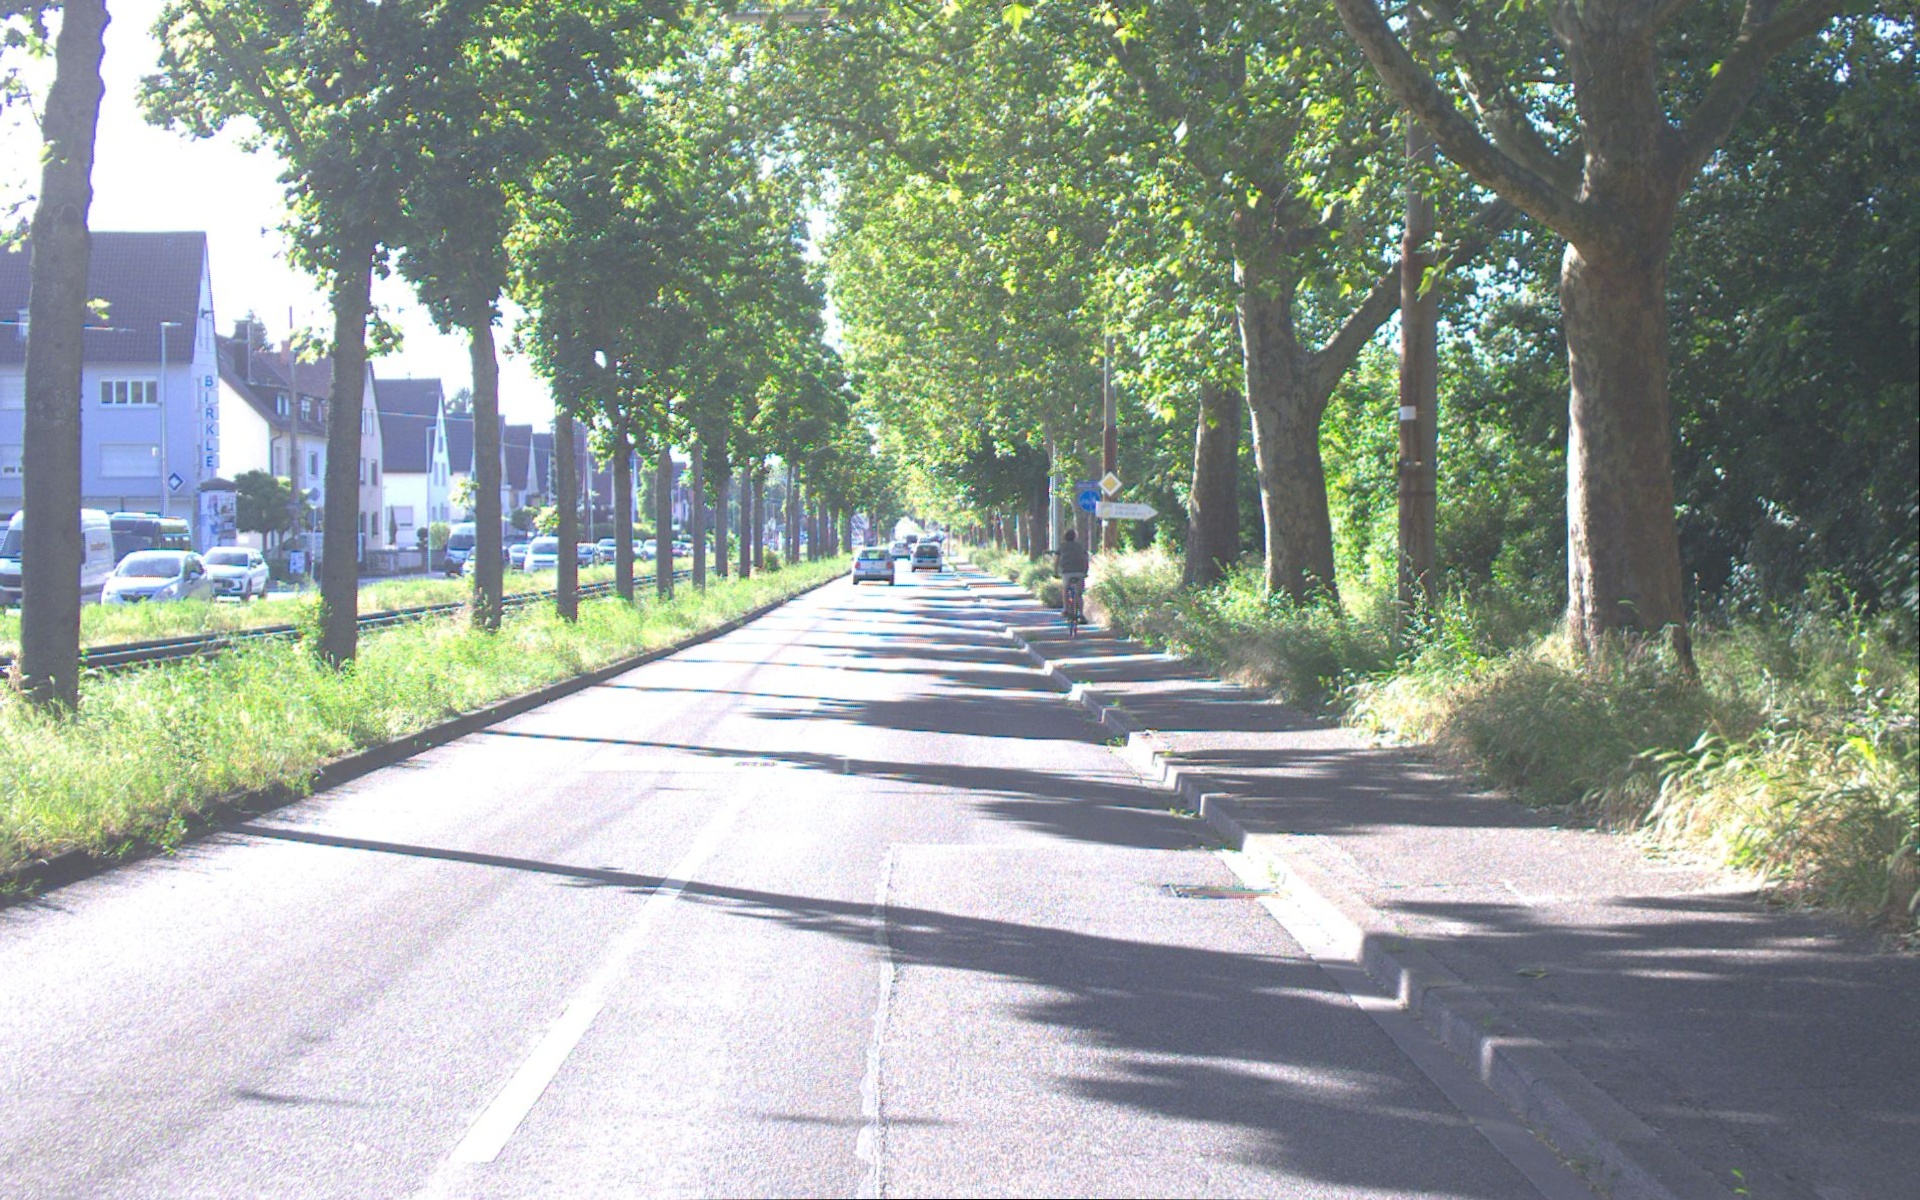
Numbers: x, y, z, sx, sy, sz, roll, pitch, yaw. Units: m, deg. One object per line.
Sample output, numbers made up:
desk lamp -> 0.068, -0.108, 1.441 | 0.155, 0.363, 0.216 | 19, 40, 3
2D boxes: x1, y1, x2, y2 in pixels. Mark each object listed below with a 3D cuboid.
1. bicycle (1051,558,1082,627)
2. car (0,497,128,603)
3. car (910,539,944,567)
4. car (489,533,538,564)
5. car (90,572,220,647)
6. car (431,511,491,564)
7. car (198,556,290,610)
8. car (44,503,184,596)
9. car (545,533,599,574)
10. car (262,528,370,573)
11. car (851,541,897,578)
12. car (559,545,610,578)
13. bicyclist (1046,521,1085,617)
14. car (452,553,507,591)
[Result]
bicycle -> 1.814, -0.133, 58.833 | 0.440, 1.149, 1.823 | -1, 1, -1
car -> -22.205, -1.215, 84.668 | 2.001, 2.488, 6.138 | 1, 1, -1
car -> -1.794, -2.549, 187.242 | 1.761, 1.508, 3.277 | 1, 1, 0
car -> -23.778, -2.763, 183.258 | 1.993, 1.576, 4.498 | 1, 1, 0
car -> -17.253, 0.173, 73.831 | 1.727, 1.523, 4.442 | 1, 1, 0
car -> -23.776, -2.939, 163.987 | 1.993, 2.451, 6.675 | 1, 1, -1
car -> -22.006, -0.536, 105.803 | 1.823, 1.601, 4.774 | 1, 1, 0
car -> -22.676, -1.339, 92.406 | 2.182, 2.368, 6.465 | 1, 1, -1
car -> -17.016, -2.021, 150.963 | 1.810, 1.738, 4.982 | 1, 1, -1
car -> -28.164, -2.153, 150.451 | 4.616, 1.939, 2.001 | 0, 1, -11
car -> -3.321, -1.575, 133.015 | 1.738, 1.396, 3.277 | 1, 1, -1
car -> -18.124, -1.878, 165.863 | 1.993, 1.526, 3.751 | -1, 1, 1
bicyclist -> 1.803, -0.533, 58.867 | 0.613, 1.623, 0.909 | -1, 1, -1
car -> -17.924, -1.044, 128.371 | 1.557, 1.390, 3.821 | 1, 1, -1
